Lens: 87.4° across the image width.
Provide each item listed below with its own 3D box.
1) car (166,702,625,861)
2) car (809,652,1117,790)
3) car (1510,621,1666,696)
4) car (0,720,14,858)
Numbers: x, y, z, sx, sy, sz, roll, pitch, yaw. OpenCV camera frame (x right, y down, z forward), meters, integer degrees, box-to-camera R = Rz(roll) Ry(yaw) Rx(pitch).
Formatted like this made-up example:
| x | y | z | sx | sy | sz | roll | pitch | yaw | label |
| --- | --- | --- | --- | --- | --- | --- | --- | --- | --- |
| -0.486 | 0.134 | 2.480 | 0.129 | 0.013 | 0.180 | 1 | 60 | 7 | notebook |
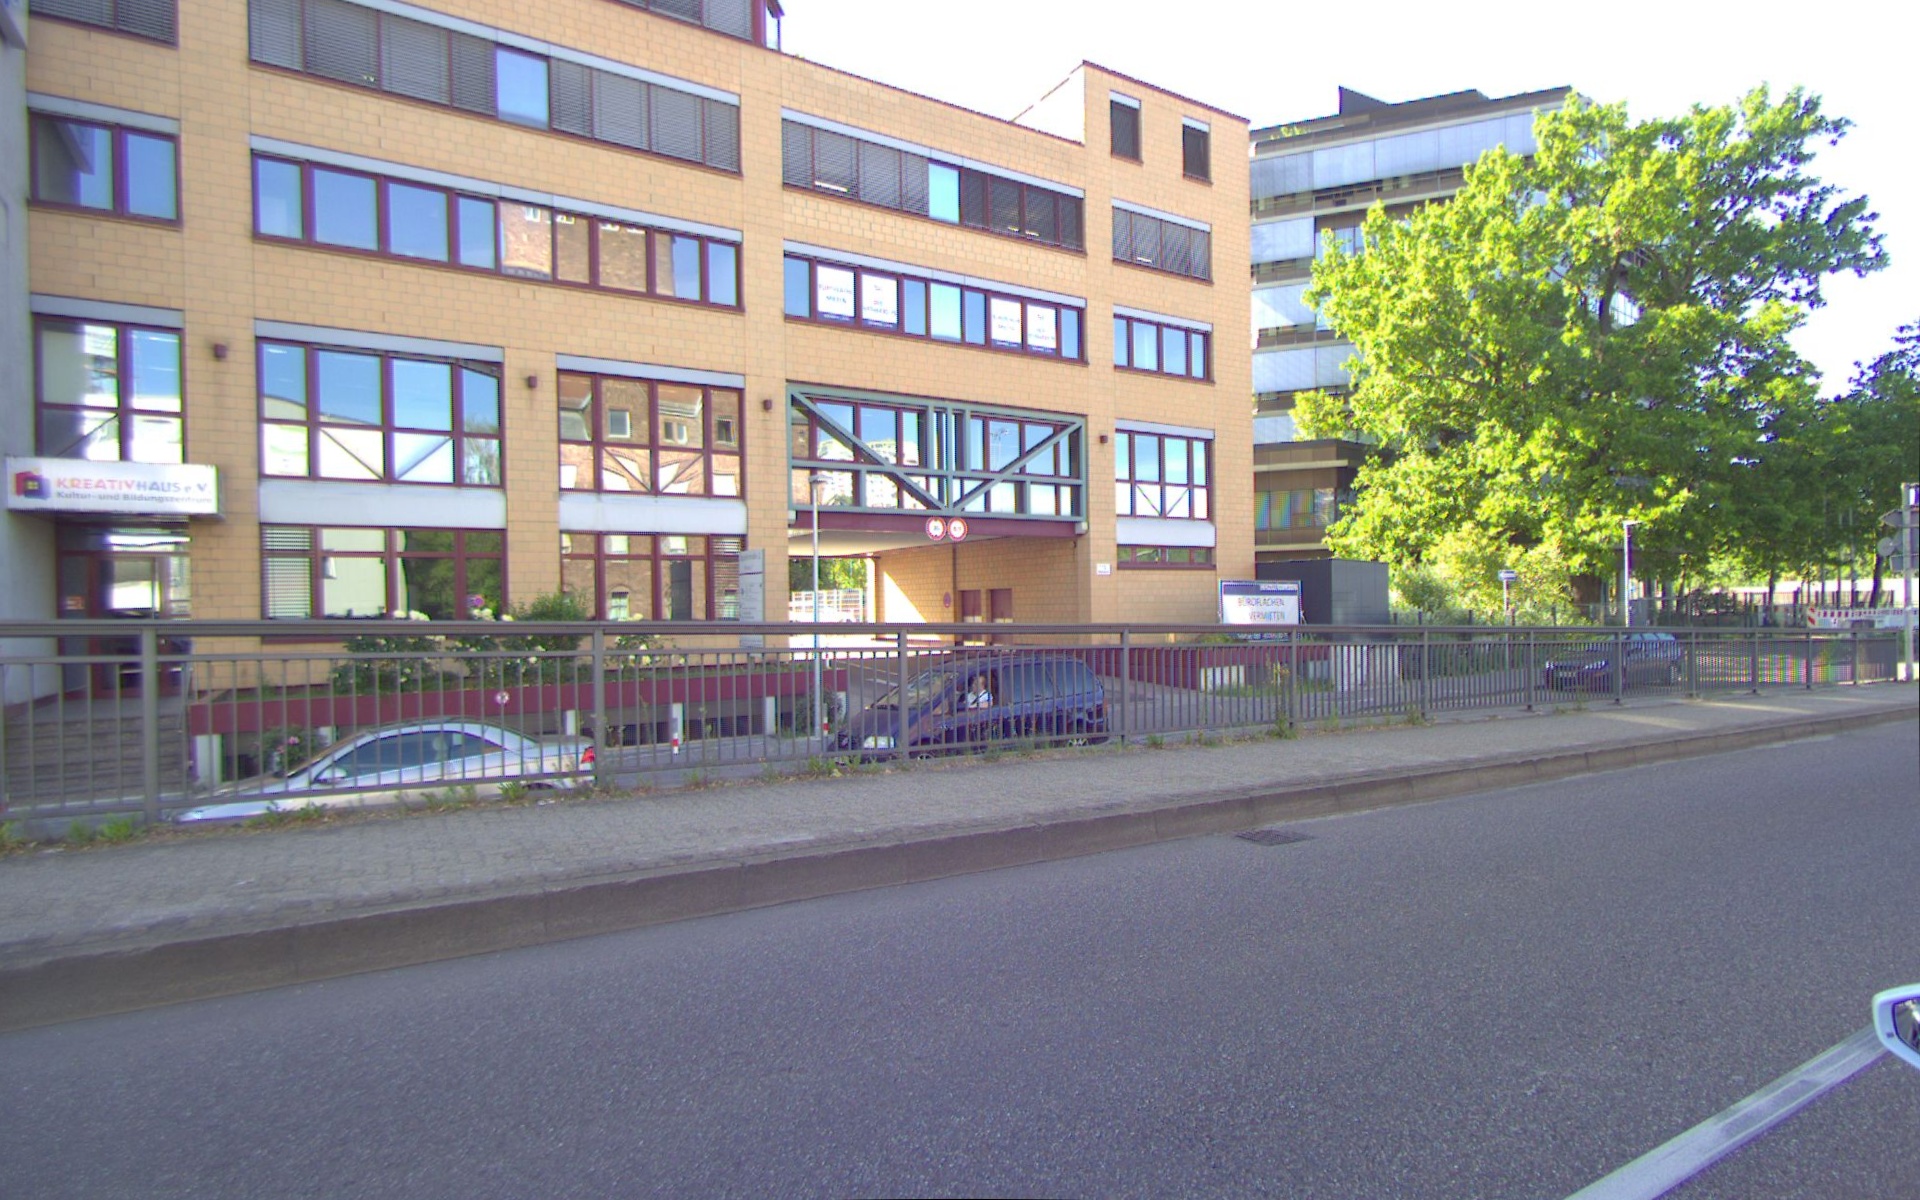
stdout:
| x | y | z | sx | sy | sz | roll | pitch | yaw | label |
| --- | --- | --- | --- | --- | --- | --- | --- | --- | --- |
| -6.130 | 1.899 | 11.305 | 4.210 | 1.181 | 1.713 | 0 | -2 | -32 | car |
| 0.140 | 1.696 | 15.213 | 4.541 | 1.669 | 1.710 | 0 | -2 | -35 | car |
| 16.441 | 1.466 | 26.270 | 3.953 | 1.715 | 1.843 | -1 | 0 | -30 | car |
| -10.596 | 1.811 | 8.309 | 3.766 | 1.286 | 1.567 | 0 | -2 | -32 | car |
